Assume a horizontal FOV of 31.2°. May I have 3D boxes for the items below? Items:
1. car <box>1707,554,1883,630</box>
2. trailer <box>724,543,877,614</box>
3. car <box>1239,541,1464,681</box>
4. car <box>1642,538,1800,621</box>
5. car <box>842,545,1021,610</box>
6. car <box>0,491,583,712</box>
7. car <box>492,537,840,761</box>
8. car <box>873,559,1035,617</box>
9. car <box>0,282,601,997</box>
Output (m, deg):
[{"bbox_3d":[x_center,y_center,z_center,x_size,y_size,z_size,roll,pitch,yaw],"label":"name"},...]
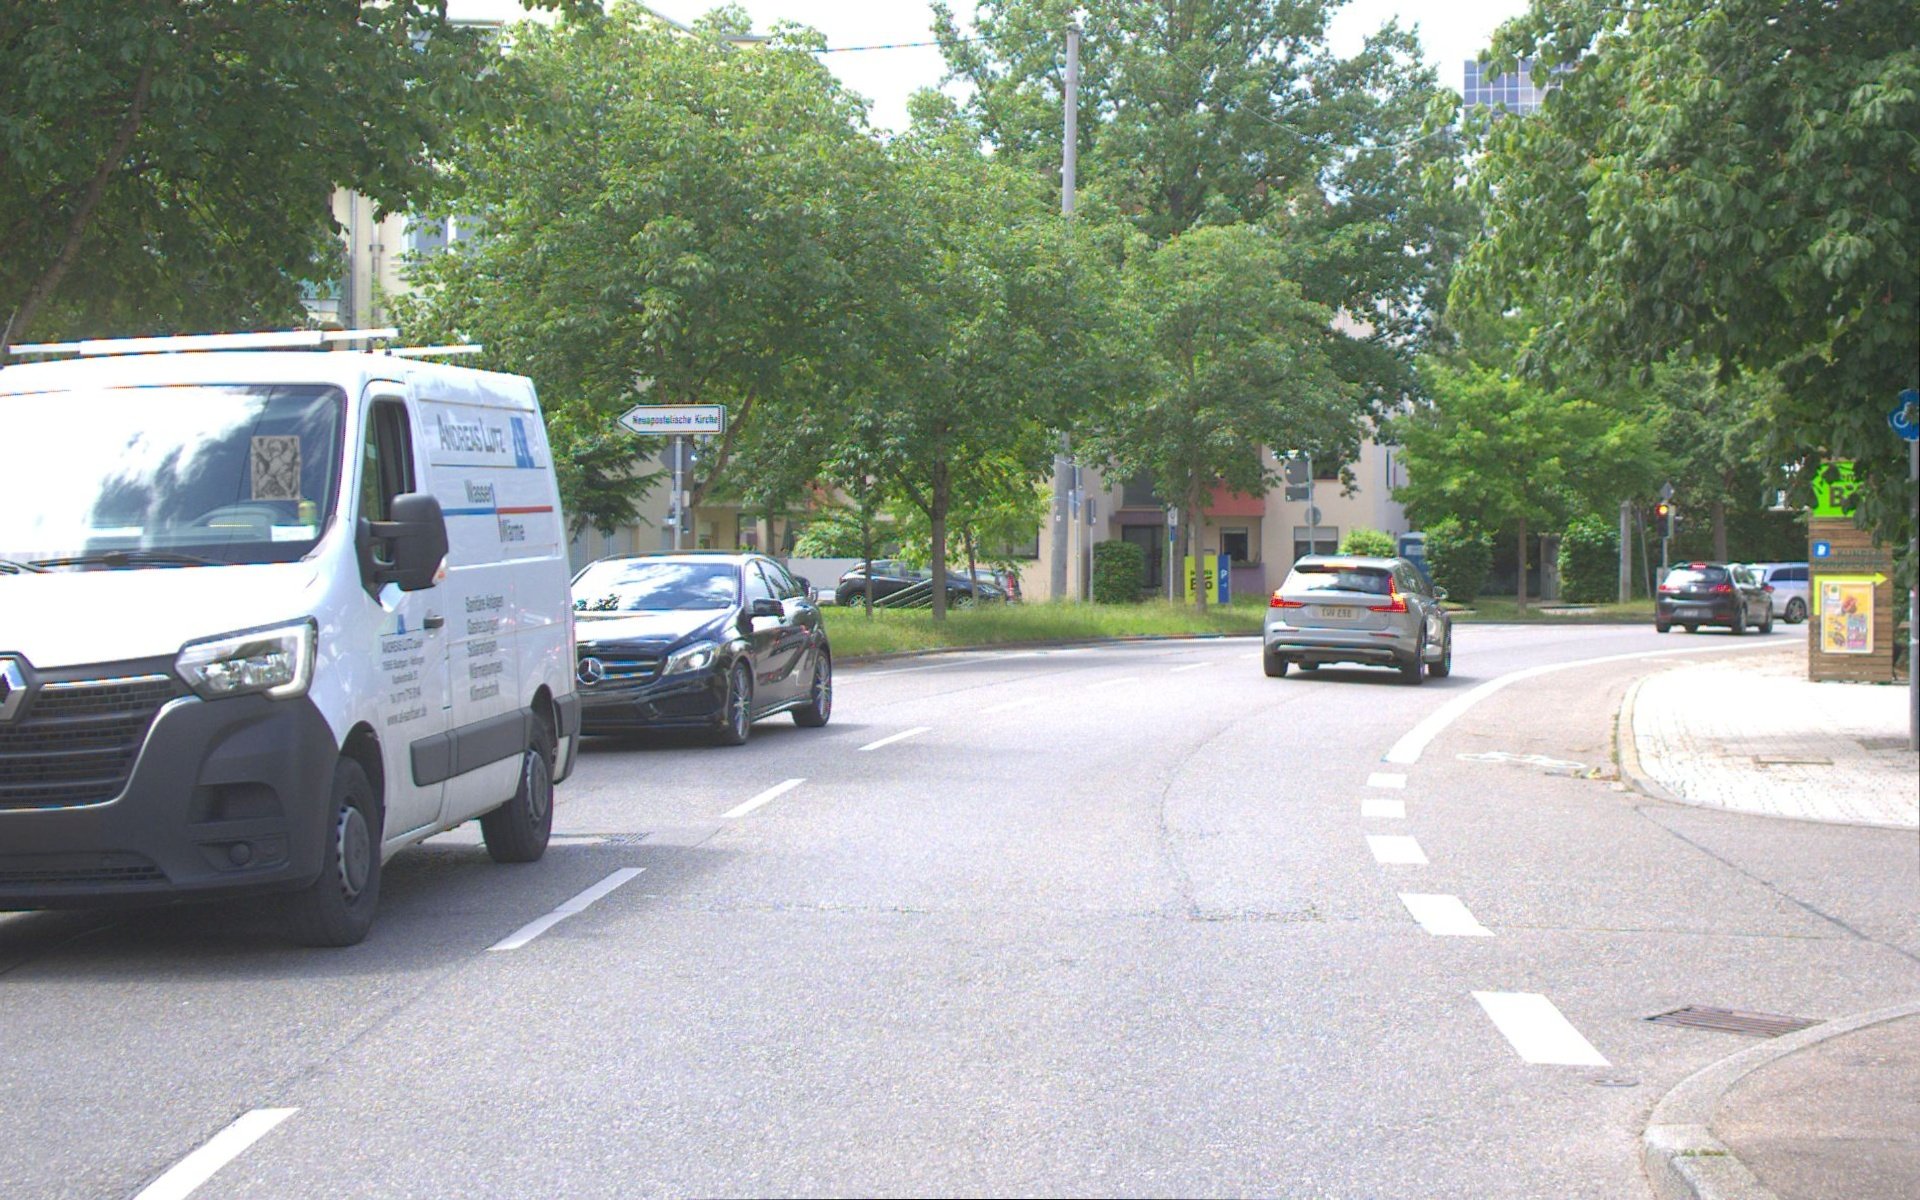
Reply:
[{"bbox_3d":[20.574,-0.187,84.640,4.315,1.611,1.810,3,1,-38],"label":"car"},{"bbox_3d":[-4.425,-0.588,95.474,3.908,1.793,1.630,1,-3,11],"label":"trailer"},{"bbox_3d":[4.798,0.088,41.638,1.957,1.518,4.326,2,2,16],"label":"car"},{"bbox_3d":[15.460,-0.420,69.687,1.807,1.518,4.322,4,2,30],"label":"car"},{"bbox_3d":[-0.699,-0.555,85.364,4.080,1.395,1.793,1,-3,13],"label":"car"},{"bbox_3d":[-6.560,0.009,33.795,5.216,1.987,2.107,-1,1,15],"label":"car"},{"bbox_3d":[-2.123,0.322,25.996,1.687,1.477,4.225,-3,0,7],"label":"car"},{"bbox_3d":[-0.155,-0.327,94.353,4.080,1.395,1.793,1,-3,13],"label":"car"},{"bbox_3d":[-3.033,0.086,14.078,2.063,2.345,5.182,-2,1,5],"label":"car"}]
